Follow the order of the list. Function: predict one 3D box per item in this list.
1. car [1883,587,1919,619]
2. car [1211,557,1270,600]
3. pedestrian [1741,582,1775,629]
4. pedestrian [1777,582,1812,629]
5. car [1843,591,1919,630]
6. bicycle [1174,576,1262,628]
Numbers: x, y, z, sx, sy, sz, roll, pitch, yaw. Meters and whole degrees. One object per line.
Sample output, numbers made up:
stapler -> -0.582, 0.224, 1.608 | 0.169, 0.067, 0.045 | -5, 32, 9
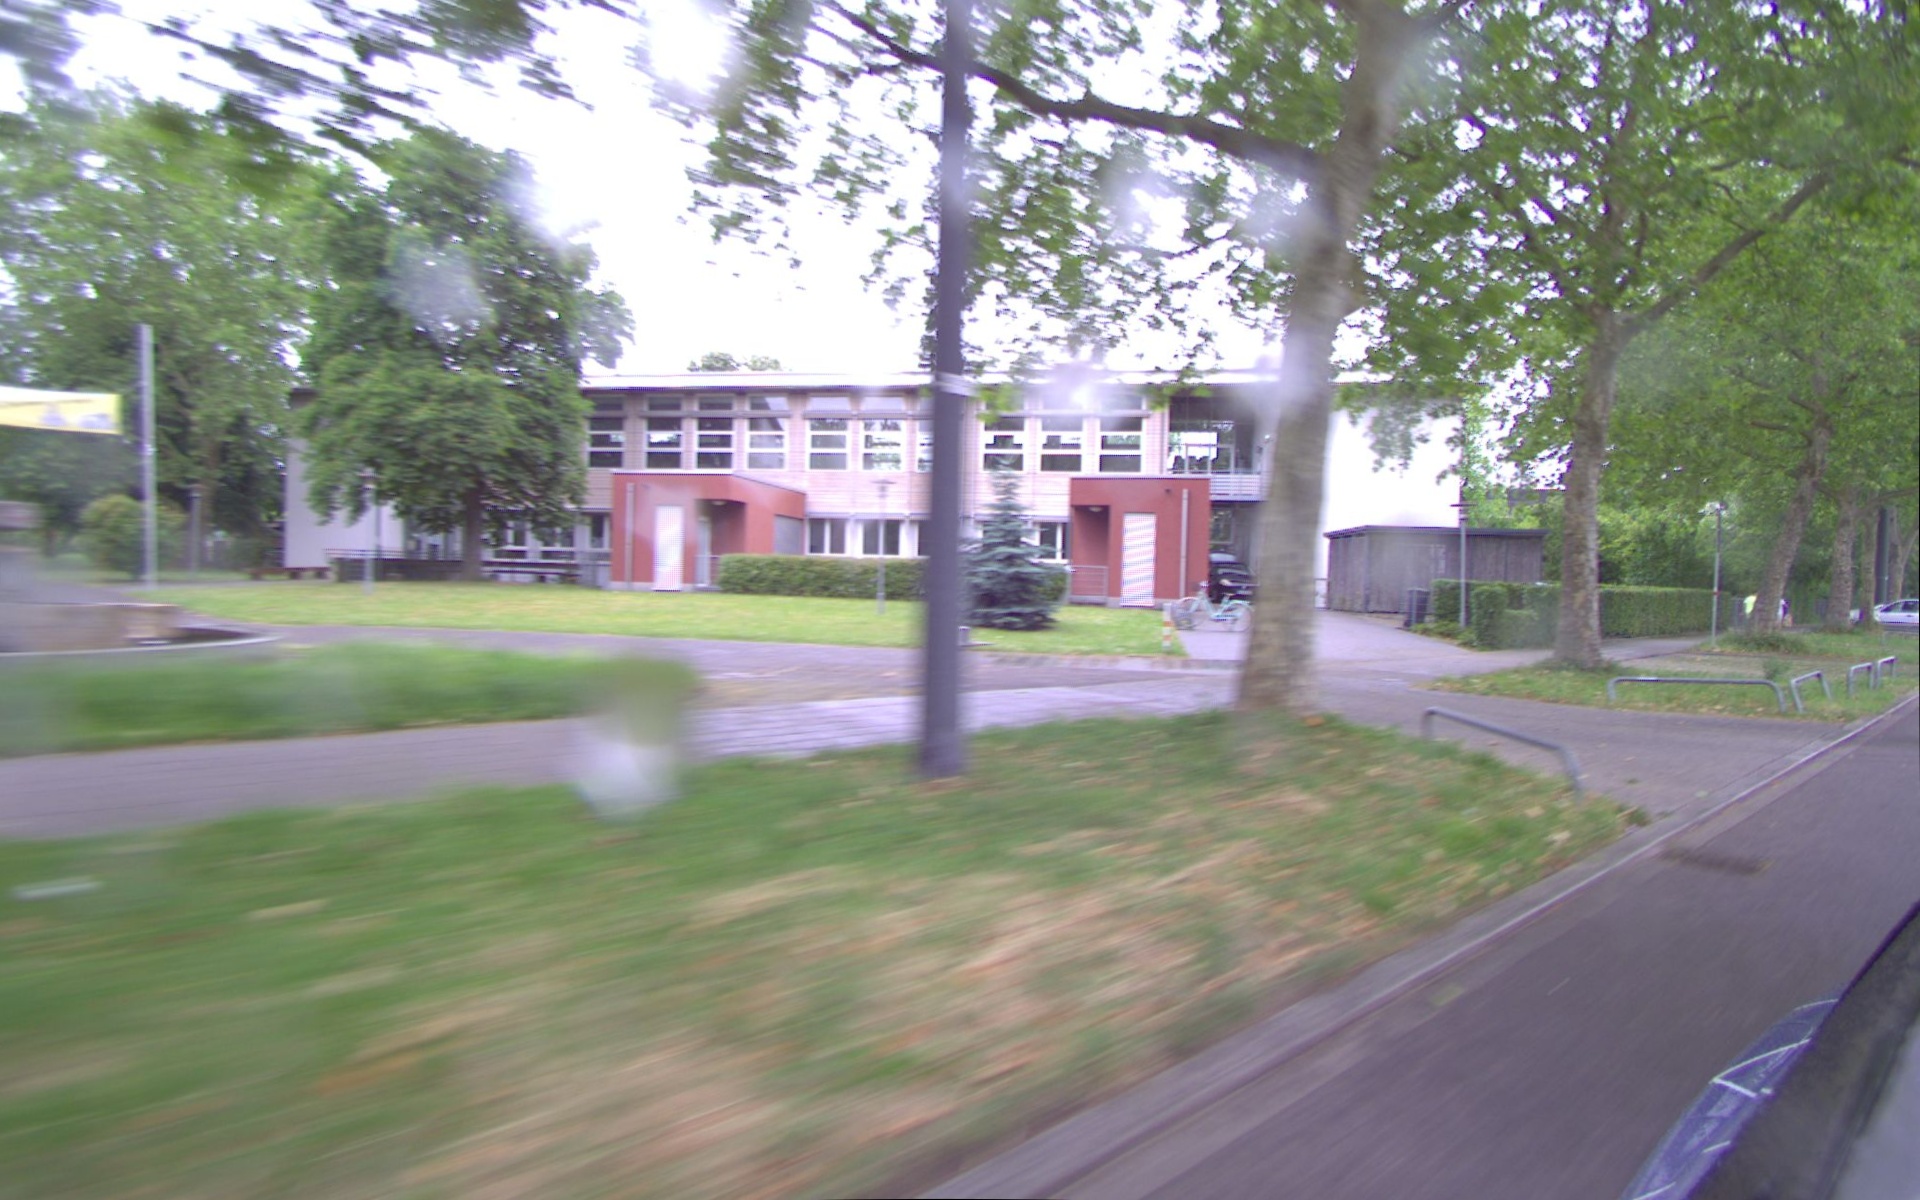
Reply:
car -> 47.593, 0.195, 48.986 | 3.983, 1.505, 1.622 | 3, 2, 30
car -> 9.924, -0.786, 35.994 | 1.722, 1.469, 3.572 | 1, 2, 11
pedestrian -> 27.053, 0.178, 34.310 | 0.575, 1.557, 0.747 | 1, 2, -42
pedestrian -> 28.683, 0.171, 34.779 | 0.741, 1.557, 0.580 | 3, 2, 26
car -> 39.116, 0.458, 41.544 | 3.983, 1.505, 1.622 | 3, 2, 30
bicycle -> 6.123, 0.046, 24.069 | 1.902, 1.135, 0.521 | 2, 3, 2
